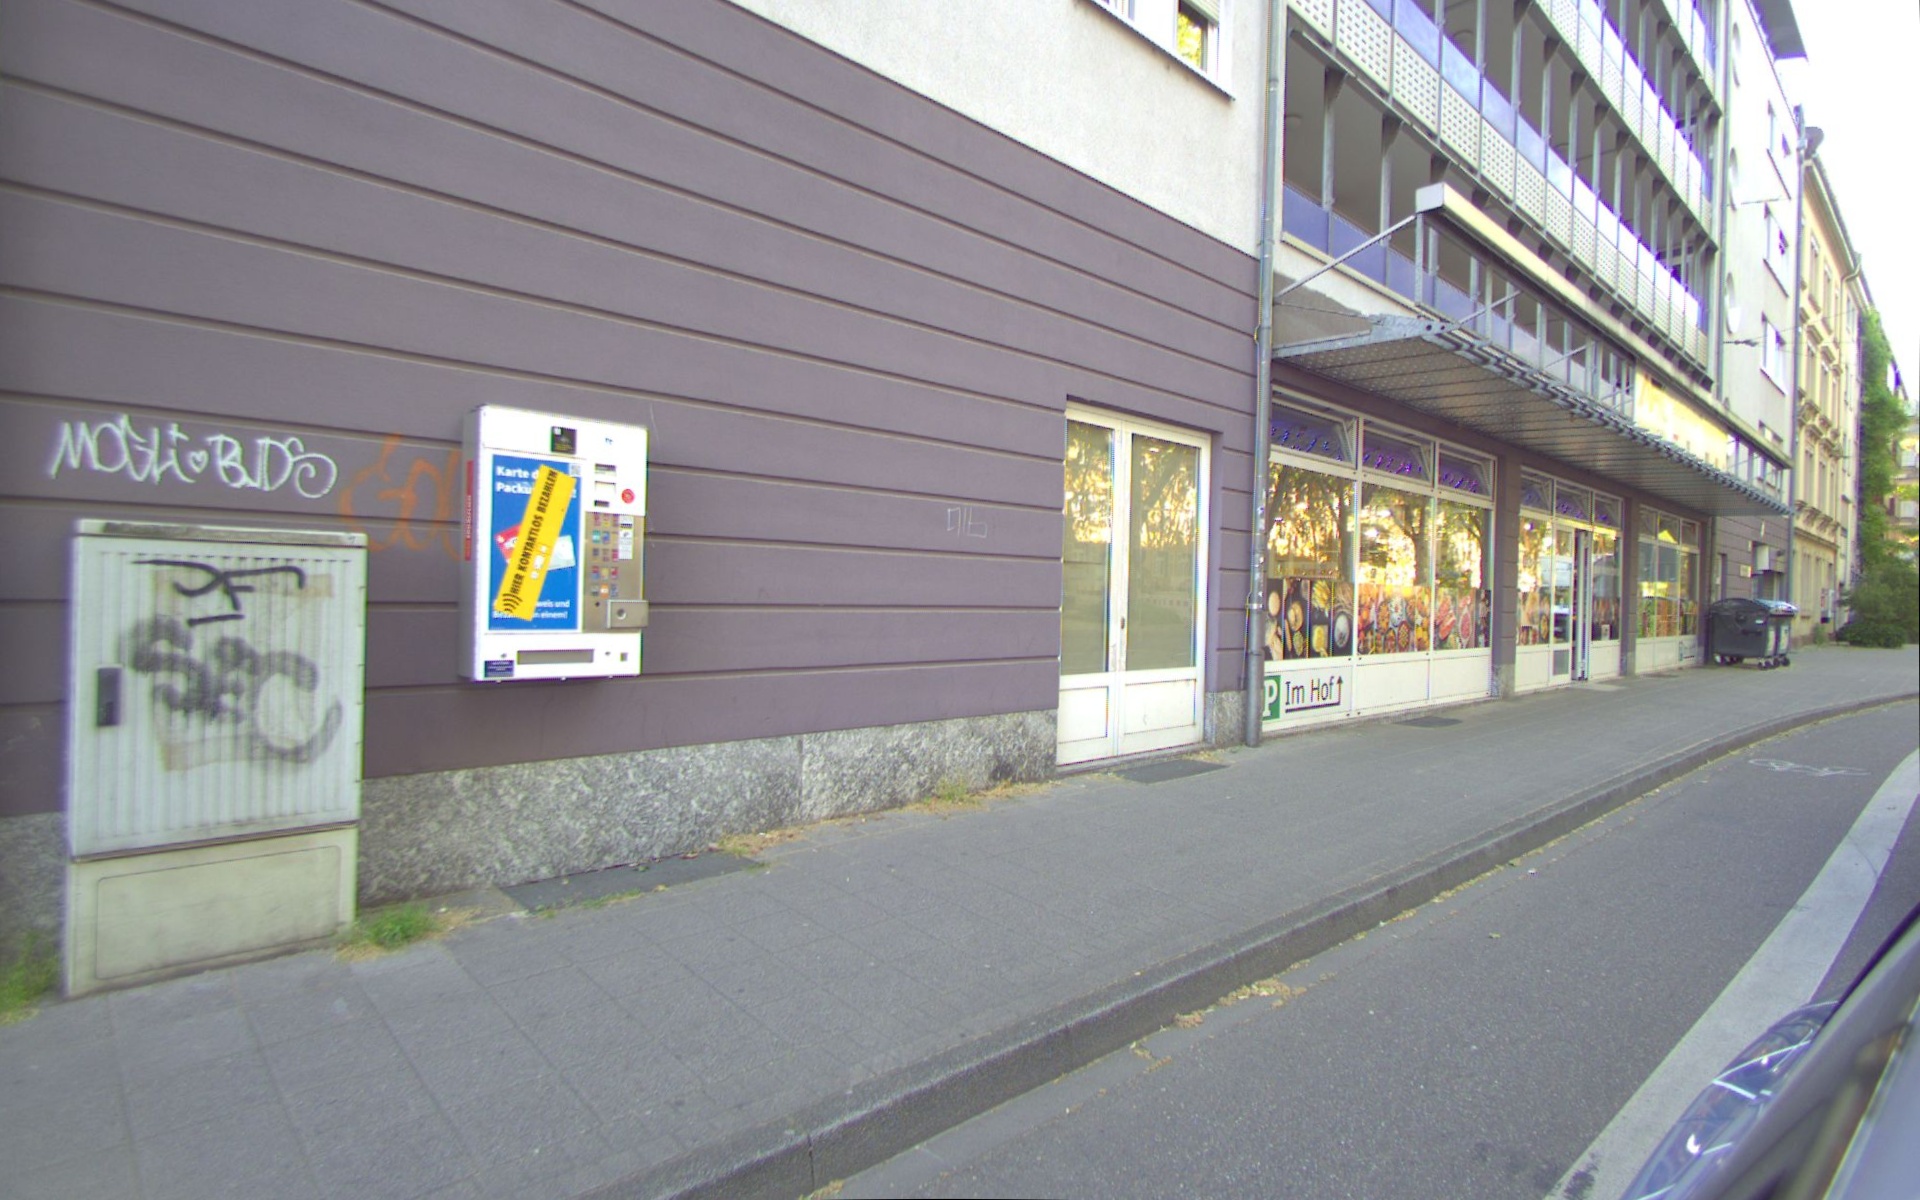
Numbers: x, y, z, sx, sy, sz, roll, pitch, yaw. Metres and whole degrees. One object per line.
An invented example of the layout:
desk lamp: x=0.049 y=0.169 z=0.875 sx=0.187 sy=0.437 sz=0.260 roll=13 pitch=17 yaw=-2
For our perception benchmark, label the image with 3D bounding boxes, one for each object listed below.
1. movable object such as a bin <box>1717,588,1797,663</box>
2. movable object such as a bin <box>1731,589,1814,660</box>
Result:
movable object such as a bin: x=16.436 y=0.499 z=20.874 sx=1.274 sy=1.465 sz=1.068 roll=1 pitch=1 yaw=-42
movable object such as a bin: x=17.785 y=0.519 z=22.161 sx=1.282 sy=1.464 sz=1.123 roll=1 pitch=1 yaw=-38
